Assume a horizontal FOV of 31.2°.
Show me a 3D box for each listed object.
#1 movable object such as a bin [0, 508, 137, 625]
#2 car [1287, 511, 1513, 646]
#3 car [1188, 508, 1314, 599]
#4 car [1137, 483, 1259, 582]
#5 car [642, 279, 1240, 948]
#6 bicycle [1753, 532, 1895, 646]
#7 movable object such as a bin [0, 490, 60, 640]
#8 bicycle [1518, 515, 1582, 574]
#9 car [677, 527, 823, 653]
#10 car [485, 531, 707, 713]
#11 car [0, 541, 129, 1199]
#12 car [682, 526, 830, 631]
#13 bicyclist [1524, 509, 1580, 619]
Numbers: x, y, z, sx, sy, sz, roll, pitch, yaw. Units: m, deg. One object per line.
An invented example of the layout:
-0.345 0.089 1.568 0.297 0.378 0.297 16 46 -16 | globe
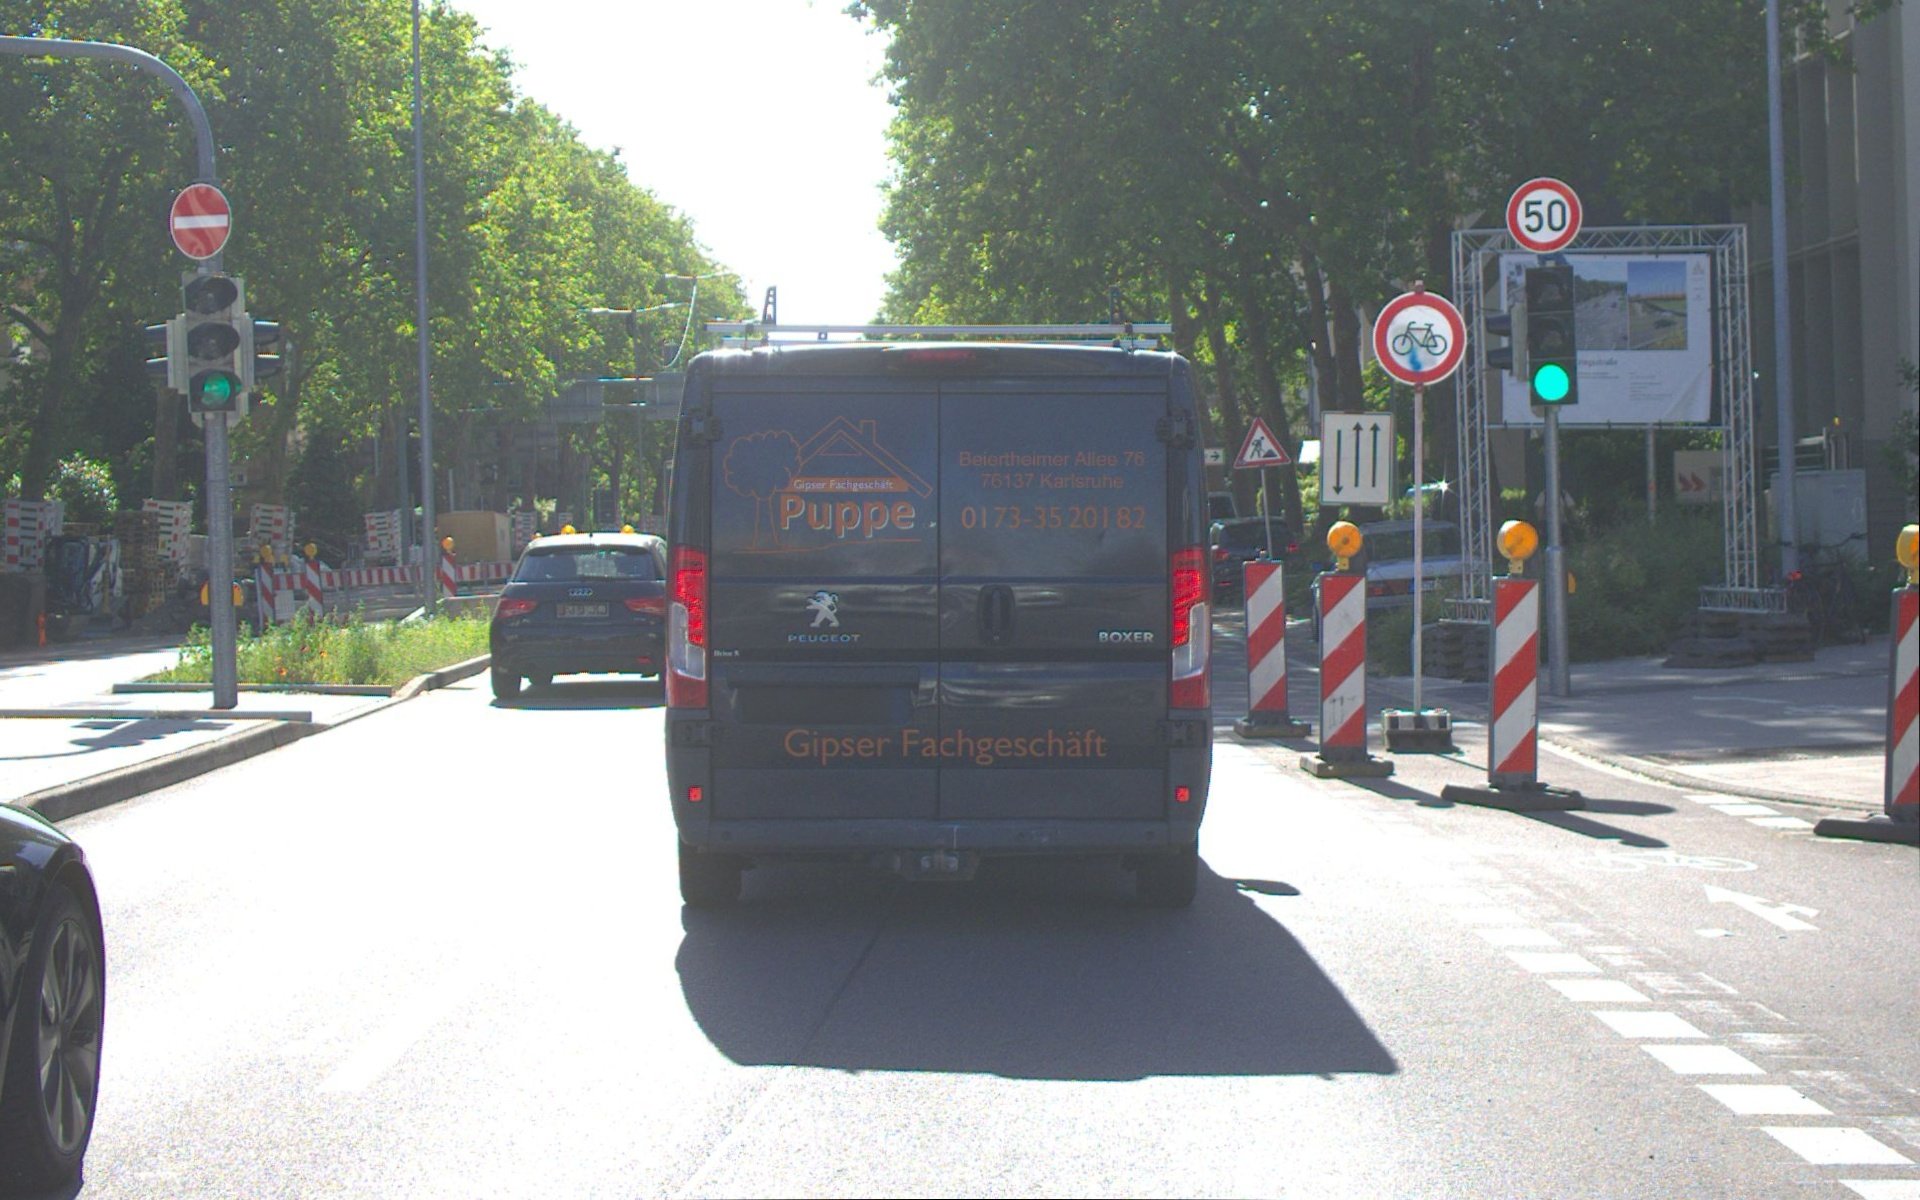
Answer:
-18.659 -0.703 70.449 1.993 2.271 5.599 -2 1 2 | movable object such as a bin
5.165 -0.295 40.947 1.852 1.474 4.943 -1 1 -2 | car
5.054 -0.829 60.169 1.763 1.503 4.251 -1 1 -1 | car
4.926 -1.415 71.839 2.025 1.940 5.274 -1 1 -1 | car
-0.117 -0.018 14.150 2.095 2.347 3.934 -1 2 -2 | car
8.123 -0.117 32.248 0.588 1.001 2.128 0 2 34 | bicycle
-18.470 -0.670 64.266 2.146 2.697 5.356 -1 1 -4 | movable object such as a bin
9.912 -0.940 57.800 0.782 0.963 1.823 -1 1 1 | bicycle
-2.602 -0.163 43.169 1.746 1.402 4.001 0 3 -2 | car
-3.234 0.144 31.151 1.746 1.402 4.001 0 3 -2 | car
-2.948 0.646 5.868 1.925 1.407 4.626 -1 2 0 | car
-2.993 -0.357 51.271 1.911 1.439 4.603 -1 2 0 | car
9.943 -0.620 57.731 0.724 1.814 1.071 -1 1 0 | bicyclist
